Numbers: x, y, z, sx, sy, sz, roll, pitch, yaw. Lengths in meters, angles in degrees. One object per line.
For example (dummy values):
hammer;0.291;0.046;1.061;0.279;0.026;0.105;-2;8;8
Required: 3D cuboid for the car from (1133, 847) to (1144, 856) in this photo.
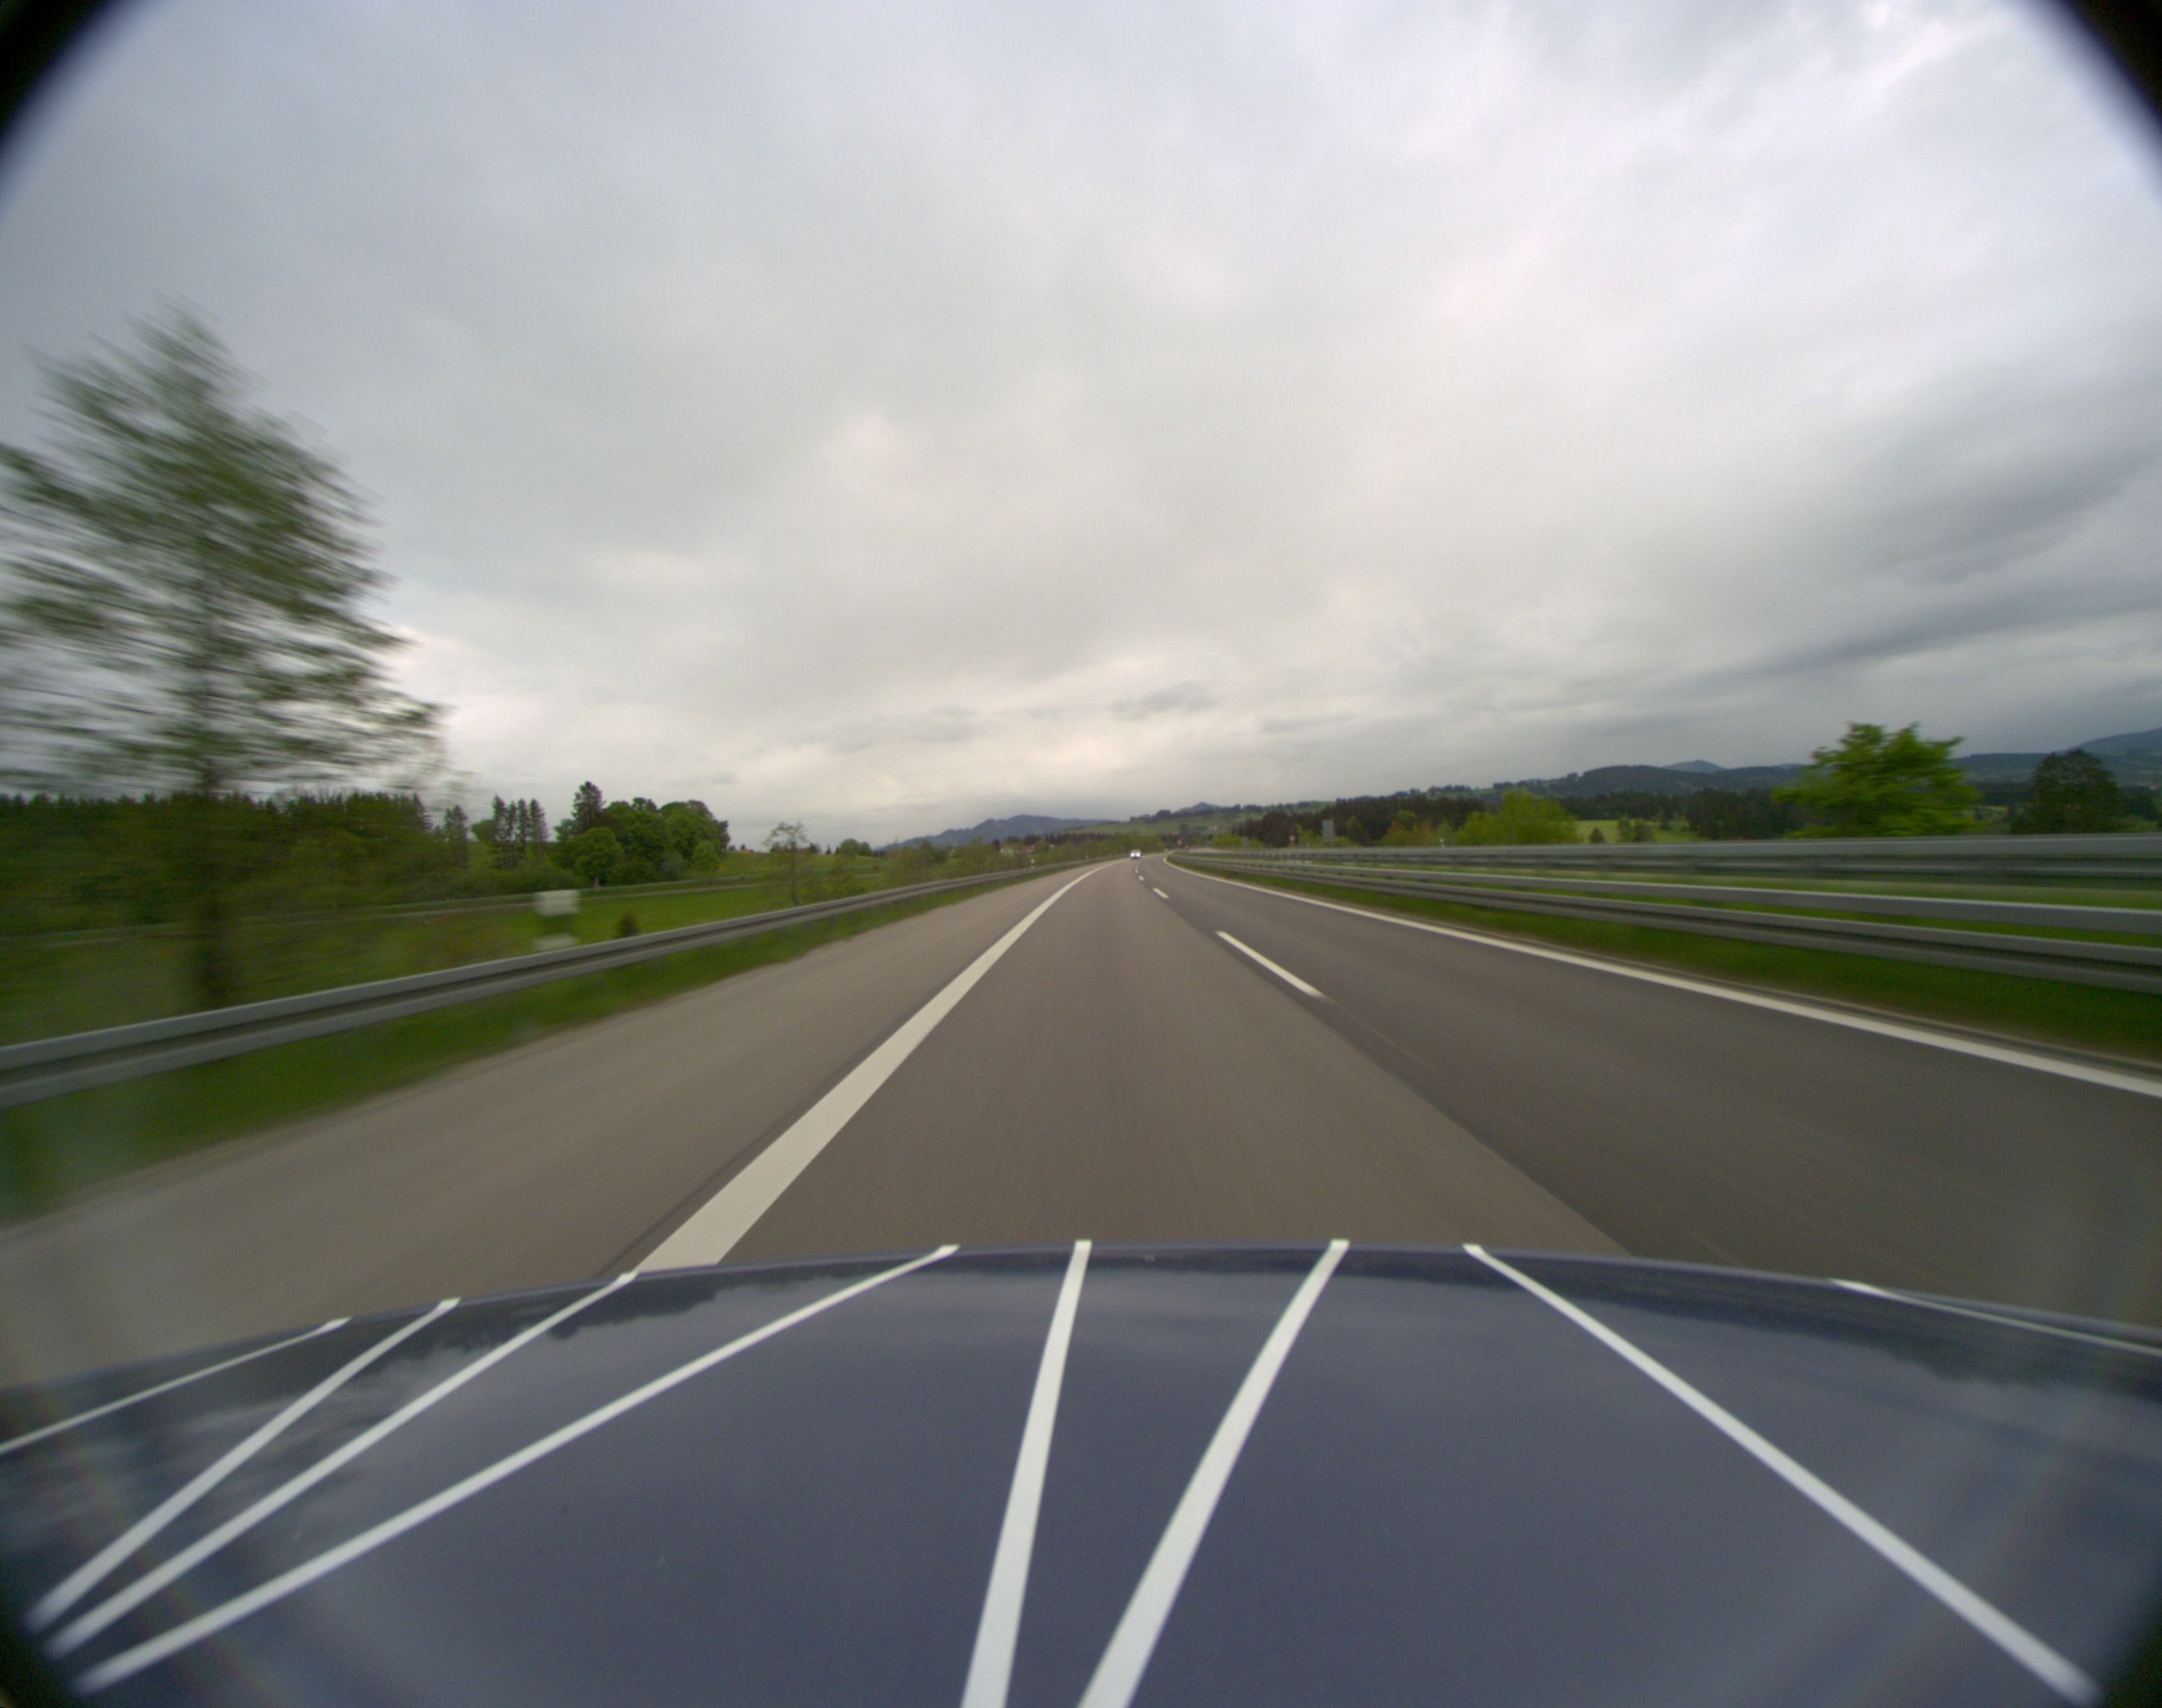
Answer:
car;12.052;-0.525;158.700;2.020;1.899;4.223;-2;0;7
